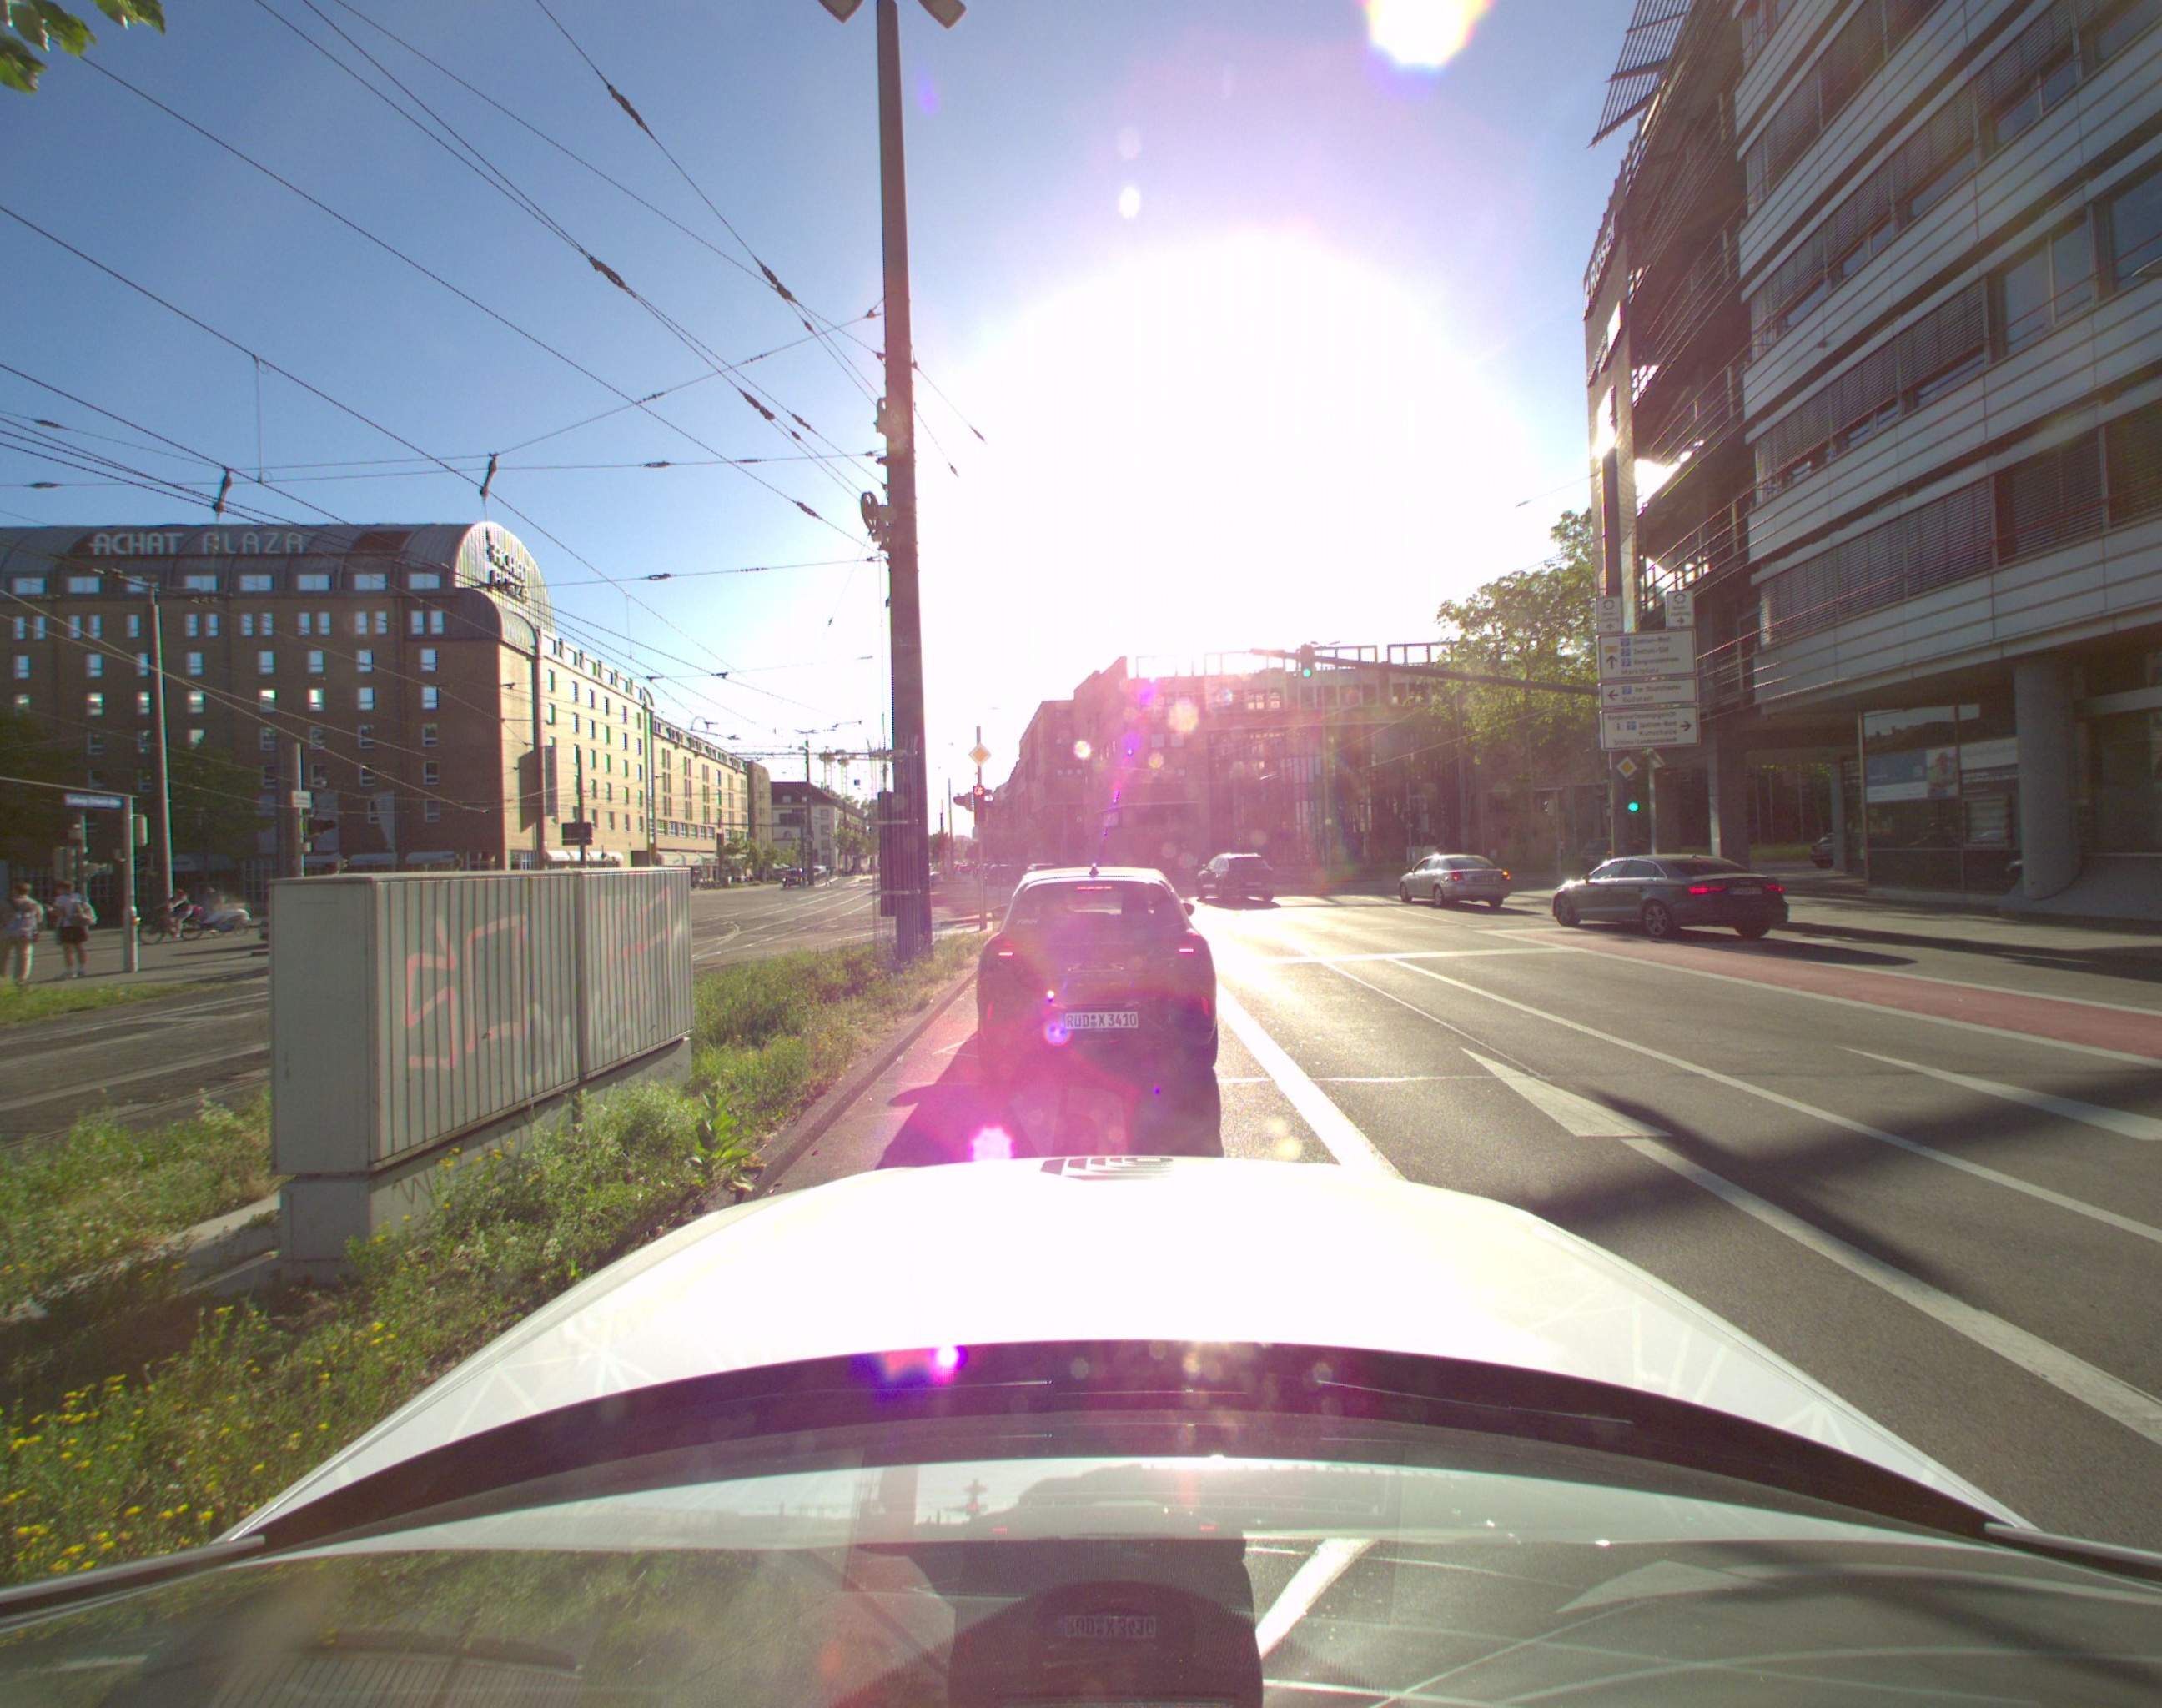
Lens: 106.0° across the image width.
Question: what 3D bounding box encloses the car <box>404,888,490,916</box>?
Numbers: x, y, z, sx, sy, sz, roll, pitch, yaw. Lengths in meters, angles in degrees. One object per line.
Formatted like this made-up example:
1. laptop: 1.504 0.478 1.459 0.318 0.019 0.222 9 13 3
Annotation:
1. car: -40.127 3.015 51.583 3.975 1.550 1.759 -2 0 -1

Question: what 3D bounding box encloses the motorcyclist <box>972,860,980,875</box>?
1. motorcyclist: -11.165 1.429 86.513 0.744 1.530 1.018 -2 0 -6

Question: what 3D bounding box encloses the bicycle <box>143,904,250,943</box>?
1. bicycle: -29.977 2.329 27.691 0.649 1.085 2.920 -2 0 -6

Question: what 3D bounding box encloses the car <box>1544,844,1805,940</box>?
1. car: 10.390 0.600 14.711 1.704 1.441 4.111 -2 0 0

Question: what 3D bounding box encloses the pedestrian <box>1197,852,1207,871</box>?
1. pedestrian: 10.245 0.652 68.861 0.733 1.617 0.562 -2 0 10

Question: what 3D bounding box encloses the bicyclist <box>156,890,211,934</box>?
1. bicyclist: -29.917 1.934 27.153 0.756 1.375 0.949 -2 0 -6

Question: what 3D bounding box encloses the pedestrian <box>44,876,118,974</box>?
1. pedestrian: -19.240 1.341 15.688 0.562 1.817 0.662 -2 0 -5

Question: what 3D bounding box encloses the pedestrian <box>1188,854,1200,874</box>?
1. pedestrian: 9.407 0.832 67.808 0.894 1.617 0.562 -2 0 10

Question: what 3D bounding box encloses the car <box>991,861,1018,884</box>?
1. car: -5.491 1.308 58.433 1.809 1.492 4.486 -2 0 -6

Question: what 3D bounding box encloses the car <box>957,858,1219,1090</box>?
1. car: 0.151 0.785 7.226 1.642 1.433 4.003 -2 0 3

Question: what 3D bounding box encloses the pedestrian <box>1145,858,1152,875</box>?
1. pedestrian: 5.885 1.065 70.646 0.527 1.430 0.598 -2 0 1

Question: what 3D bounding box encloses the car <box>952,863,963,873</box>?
1. car: -20.604 2.356 135.922 1.737 1.651 3.987 -2 0 -9

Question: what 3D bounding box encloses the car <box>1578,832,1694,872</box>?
1. car: 25.278 -0.095 37.118 4.449 1.629 1.687 -2 0 -11

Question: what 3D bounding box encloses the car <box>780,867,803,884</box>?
1. car: -28.183 2.044 79.351 1.748 1.505 3.860 -2 0 -15

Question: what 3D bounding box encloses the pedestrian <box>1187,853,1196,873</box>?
1. pedestrian: 9.583 0.778 70.514 0.733 1.617 0.562 -2 0 10

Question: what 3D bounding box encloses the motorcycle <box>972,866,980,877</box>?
1. motorcycle: -11.147 1.802 86.503 0.774 1.115 1.964 -2 0 -7

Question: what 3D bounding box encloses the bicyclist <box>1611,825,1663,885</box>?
1. bicyclist: 14.910 0.027 21.856 0.623 1.566 1.042 -2 0 -2

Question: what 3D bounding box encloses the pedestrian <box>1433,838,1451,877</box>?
1. pedestrian: 16.576 0.177 37.393 0.700 1.759 0.564 -2 -1 27

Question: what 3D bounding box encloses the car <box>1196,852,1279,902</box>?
1. car: 5.239 0.741 27.817 1.742 1.505 3.873 -2 0 -5

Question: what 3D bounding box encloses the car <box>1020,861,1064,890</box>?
1. car: -2.119 1.134 43.644 1.687 1.433 4.136 -2 0 -12

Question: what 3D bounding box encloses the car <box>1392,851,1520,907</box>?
1. car: 10.809 0.669 23.862 1.744 1.431 4.490 -2 0 1

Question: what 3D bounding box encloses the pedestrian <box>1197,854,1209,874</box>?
1. pedestrian: 10.075 0.835 67.055 0.894 1.617 0.562 -2 0 10

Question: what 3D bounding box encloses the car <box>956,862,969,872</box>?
1. car: -17.442 1.916 119.829 1.737 1.349 3.986 -2 0 -10

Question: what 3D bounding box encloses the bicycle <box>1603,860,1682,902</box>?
1. bicycle: 14.956 0.694 21.765 0.497 1.032 2.204 -2 0 -2

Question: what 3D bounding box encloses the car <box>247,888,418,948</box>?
1. car: -22.469 1.858 24.680 1.569 1.449 3.996 -2 0 -3

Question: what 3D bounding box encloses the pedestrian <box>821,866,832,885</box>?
1. pedestrian: -22.656 1.894 72.563 0.766 1.640 0.741 -2 0 -11

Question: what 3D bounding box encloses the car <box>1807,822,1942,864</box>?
1. car: 32.668 -0.437 33.590 3.981 1.651 1.861 -1 0 -6

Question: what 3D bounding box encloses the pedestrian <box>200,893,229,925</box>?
1. pedestrian: -42.358 2.695 39.805 0.674 1.503 0.659 -2 0 -1

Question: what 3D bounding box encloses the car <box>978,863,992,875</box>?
1. car: -12.533 1.899 106.223 1.805 1.457 3.991 -1 0 -6

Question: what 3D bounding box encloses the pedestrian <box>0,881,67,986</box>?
1. pedestrian: -19.224 1.436 14.829 0.630 1.830 0.662 -2 0 -5

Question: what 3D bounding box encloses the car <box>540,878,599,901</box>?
1. car: -36.325 2.510 57.969 1.750 1.388 3.997 -2 0 -2

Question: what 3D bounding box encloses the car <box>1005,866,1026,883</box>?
1. car: -5.997 1.845 74.884 1.804 1.457 3.994 -1 0 -4
